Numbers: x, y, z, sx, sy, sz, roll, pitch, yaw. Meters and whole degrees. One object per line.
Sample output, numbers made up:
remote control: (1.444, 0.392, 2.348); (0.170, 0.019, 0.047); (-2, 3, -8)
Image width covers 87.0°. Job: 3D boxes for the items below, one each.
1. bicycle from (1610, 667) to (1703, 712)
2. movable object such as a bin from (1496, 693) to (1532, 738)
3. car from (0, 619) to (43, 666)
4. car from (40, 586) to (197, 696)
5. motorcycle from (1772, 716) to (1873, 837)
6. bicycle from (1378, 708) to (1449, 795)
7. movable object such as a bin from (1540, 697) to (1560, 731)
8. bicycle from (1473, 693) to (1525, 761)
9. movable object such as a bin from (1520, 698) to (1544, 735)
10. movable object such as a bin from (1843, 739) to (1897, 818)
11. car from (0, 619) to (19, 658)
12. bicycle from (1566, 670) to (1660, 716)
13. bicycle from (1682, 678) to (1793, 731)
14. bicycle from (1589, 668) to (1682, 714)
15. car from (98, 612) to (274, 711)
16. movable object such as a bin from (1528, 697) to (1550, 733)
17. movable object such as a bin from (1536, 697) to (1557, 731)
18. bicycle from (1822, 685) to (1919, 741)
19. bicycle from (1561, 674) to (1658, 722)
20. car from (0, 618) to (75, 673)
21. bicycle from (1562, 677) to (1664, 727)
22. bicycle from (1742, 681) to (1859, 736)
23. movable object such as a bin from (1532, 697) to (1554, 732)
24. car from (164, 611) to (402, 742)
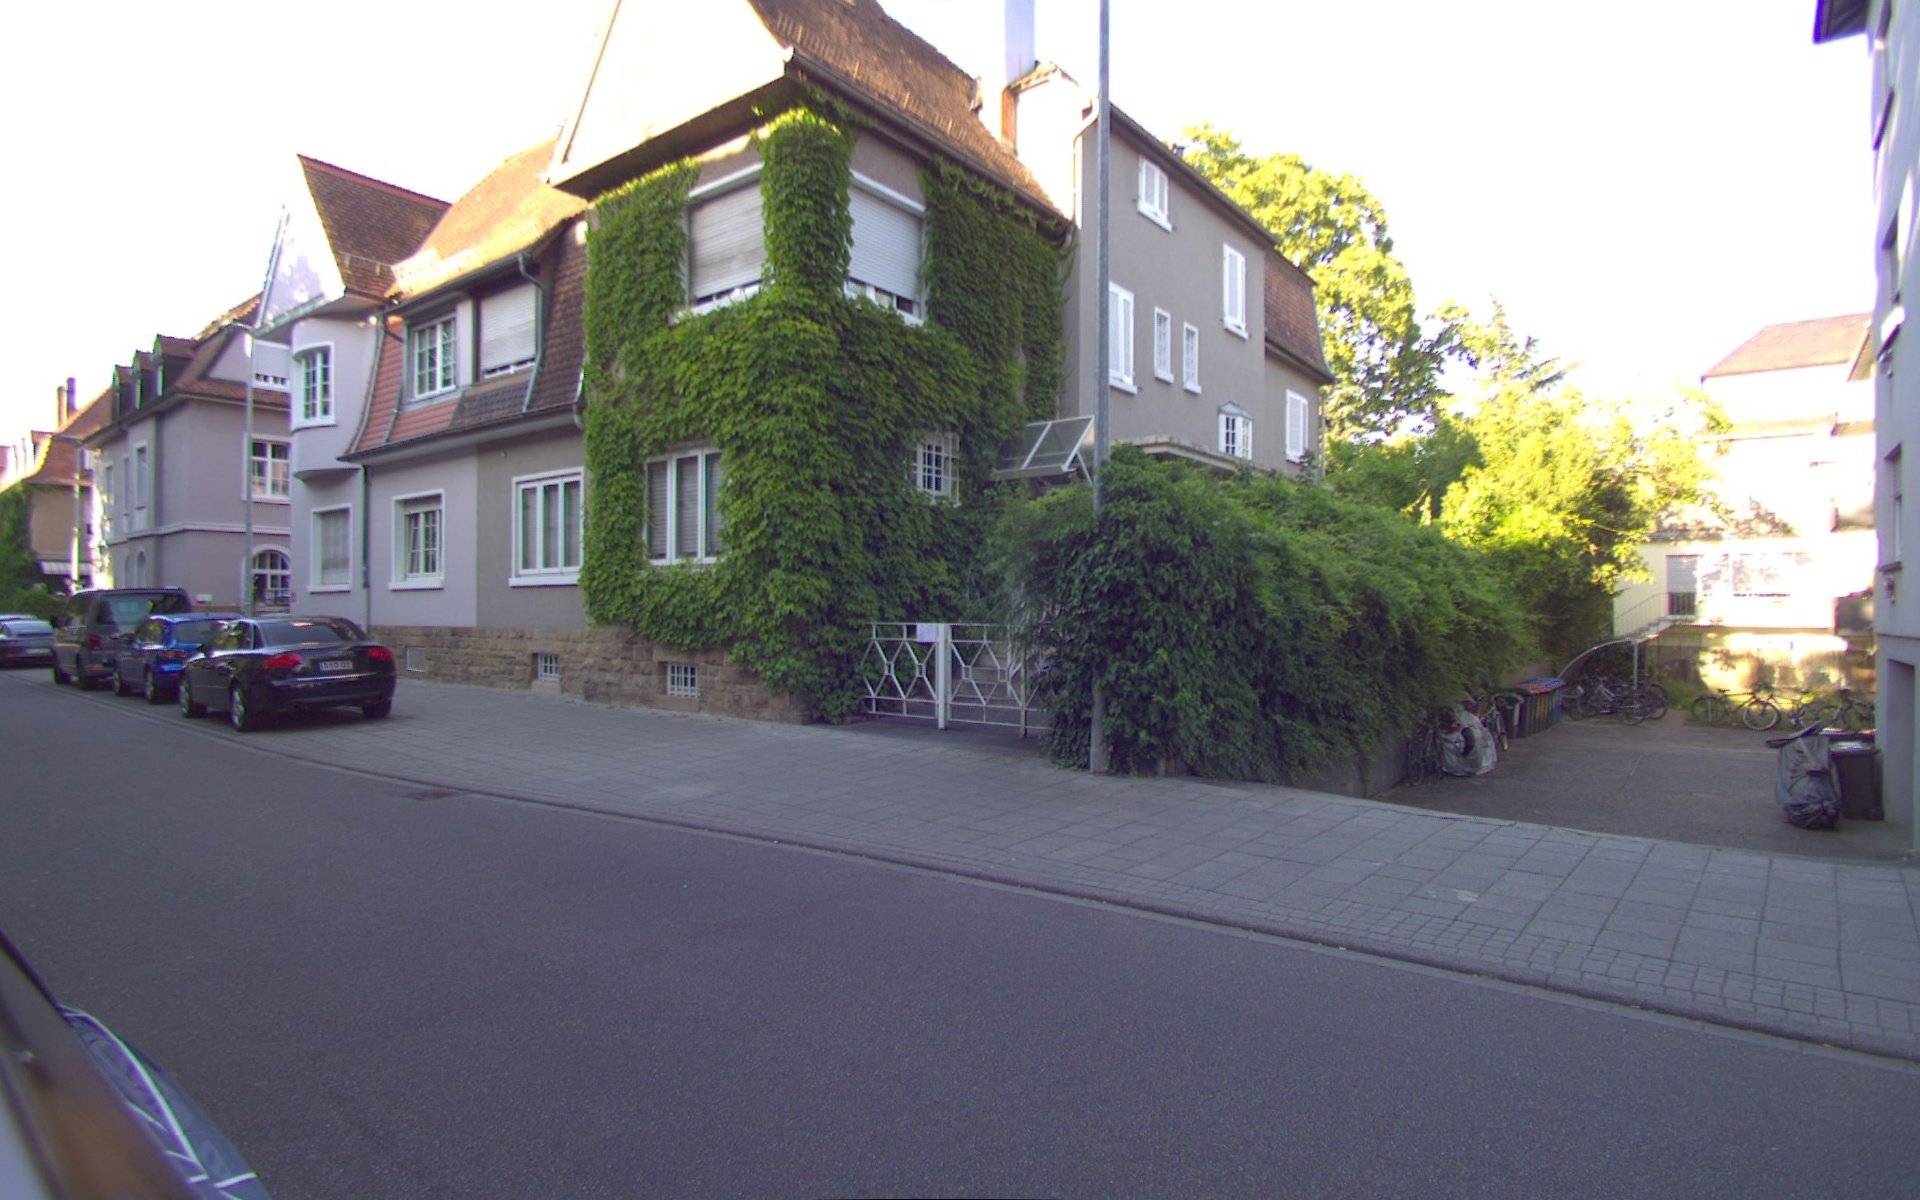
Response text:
bicycle: (19.415, 2.481, 28.237); (2.068, 1.028, 0.561); (1, 3, 41)
movable object such as a bin: (11.541, 2.401, 21.088); (0.576, 0.886, 0.488); (0, -3, 41)
car: (-30.292, 1.328, 31.916); (3.942, 1.381, 1.522); (-1, 1, 40)
car: (-17.383, 0.763, 20.829); (4.308, 1.987, 1.698); (0, 2, 40)
motorcycle: (10.715, 2.149, 12.622); (0.757, 1.261, 1.575); (-1, -3, 34)
bicycle: (6.803, 2.228, 15.124); (0.514, 1.027, 1.914); (1, 0, 38)
movable object such as a bin: (13.780, 2.653, 23.651); (0.346, 0.764, 0.359); (-1, -4, 41)
bicycle: (9.955, 2.311, 18.665); (0.514, 1.027, 1.914); (1, 0, 38)
movable object such as a bin: (12.541, 2.550, 22.204); (0.398, 0.779, 0.359); (-1, -4, 41)
movable object such as a bin: (11.760, 2.295, 13.091); (0.432, 0.894, 0.717); (-1, -3, 37)
car: (-36.483, 1.436, 37.623); (3.942, 1.381, 1.698); (-1, 1, 40)
bicycle: (17.696, 2.503, 27.466); (2.068, 1.028, 0.608); (1, 3, 41)
bicycle: (18.713, 2.491, 24.387); (2.068, 1.028, 0.634); (1, 3, 41)
bicycle: (18.613, 2.491, 27.932); (2.068, 1.028, 0.608); (1, 3, 41)
car: (-13.691, 0.992, 17.827); (4.021, 1.475, 1.591); (0, 2, 40)
movable object such as a bin: (13.023, 2.578, 22.756); (0.375, 0.764, 0.359); (-1, -4, 41)
movable object such as a bin: (13.533, 2.624, 23.348); (0.367, 0.764, 0.359); (-1, -4, 41)
bicycle: (20.673, 2.528, 22.671); (2.068, 1.028, 0.634); (1, 3, 41)
bicycle: (16.835, 2.515, 26.264); (2.068, 1.028, 0.565); (1, 3, 41)
car: (-26.346, 1.226, 28.330); (4.331, 1.381, 1.698); (-1, 1, 40)
bicycle: (16.271, 2.522, 25.252); (2.068, 1.028, 0.634); (1, 3, 41)
bicycle: (19.588, 2.507, 23.634); (2.068, 1.028, 0.634); (1, 3, 41)
movable object such as a bin: (13.282, 2.602, 23.052); (0.367, 0.764, 0.359); (-1, -4, 41)
car: (-9.356, 0.919, 13.871); (4.023, 1.439, 1.729); (0, 2, 42)
